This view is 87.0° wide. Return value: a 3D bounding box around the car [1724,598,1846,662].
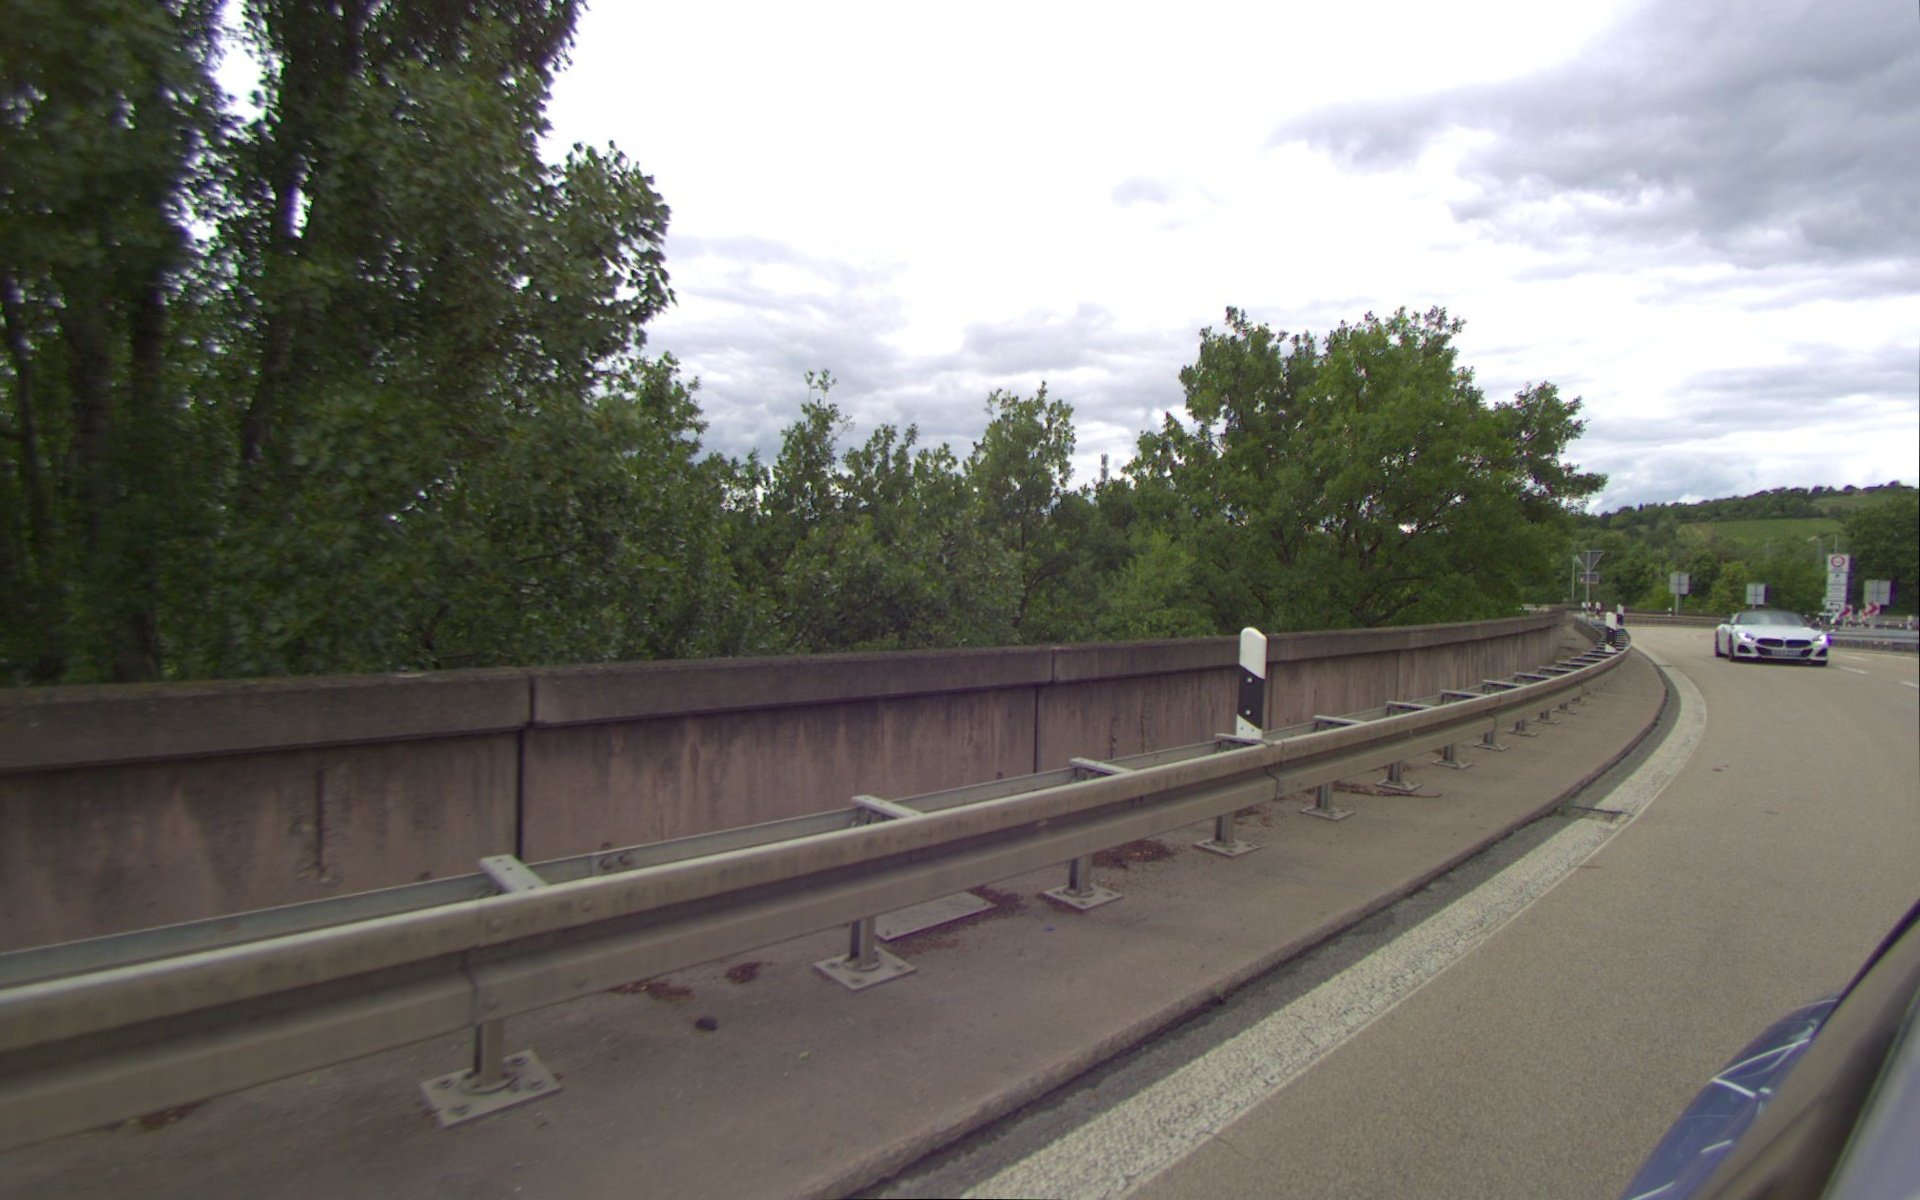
[{"bbox_3d":[20.643,0.669,25.517,1.851,1.361,4.767,2,2,33],"label":"car"}]
